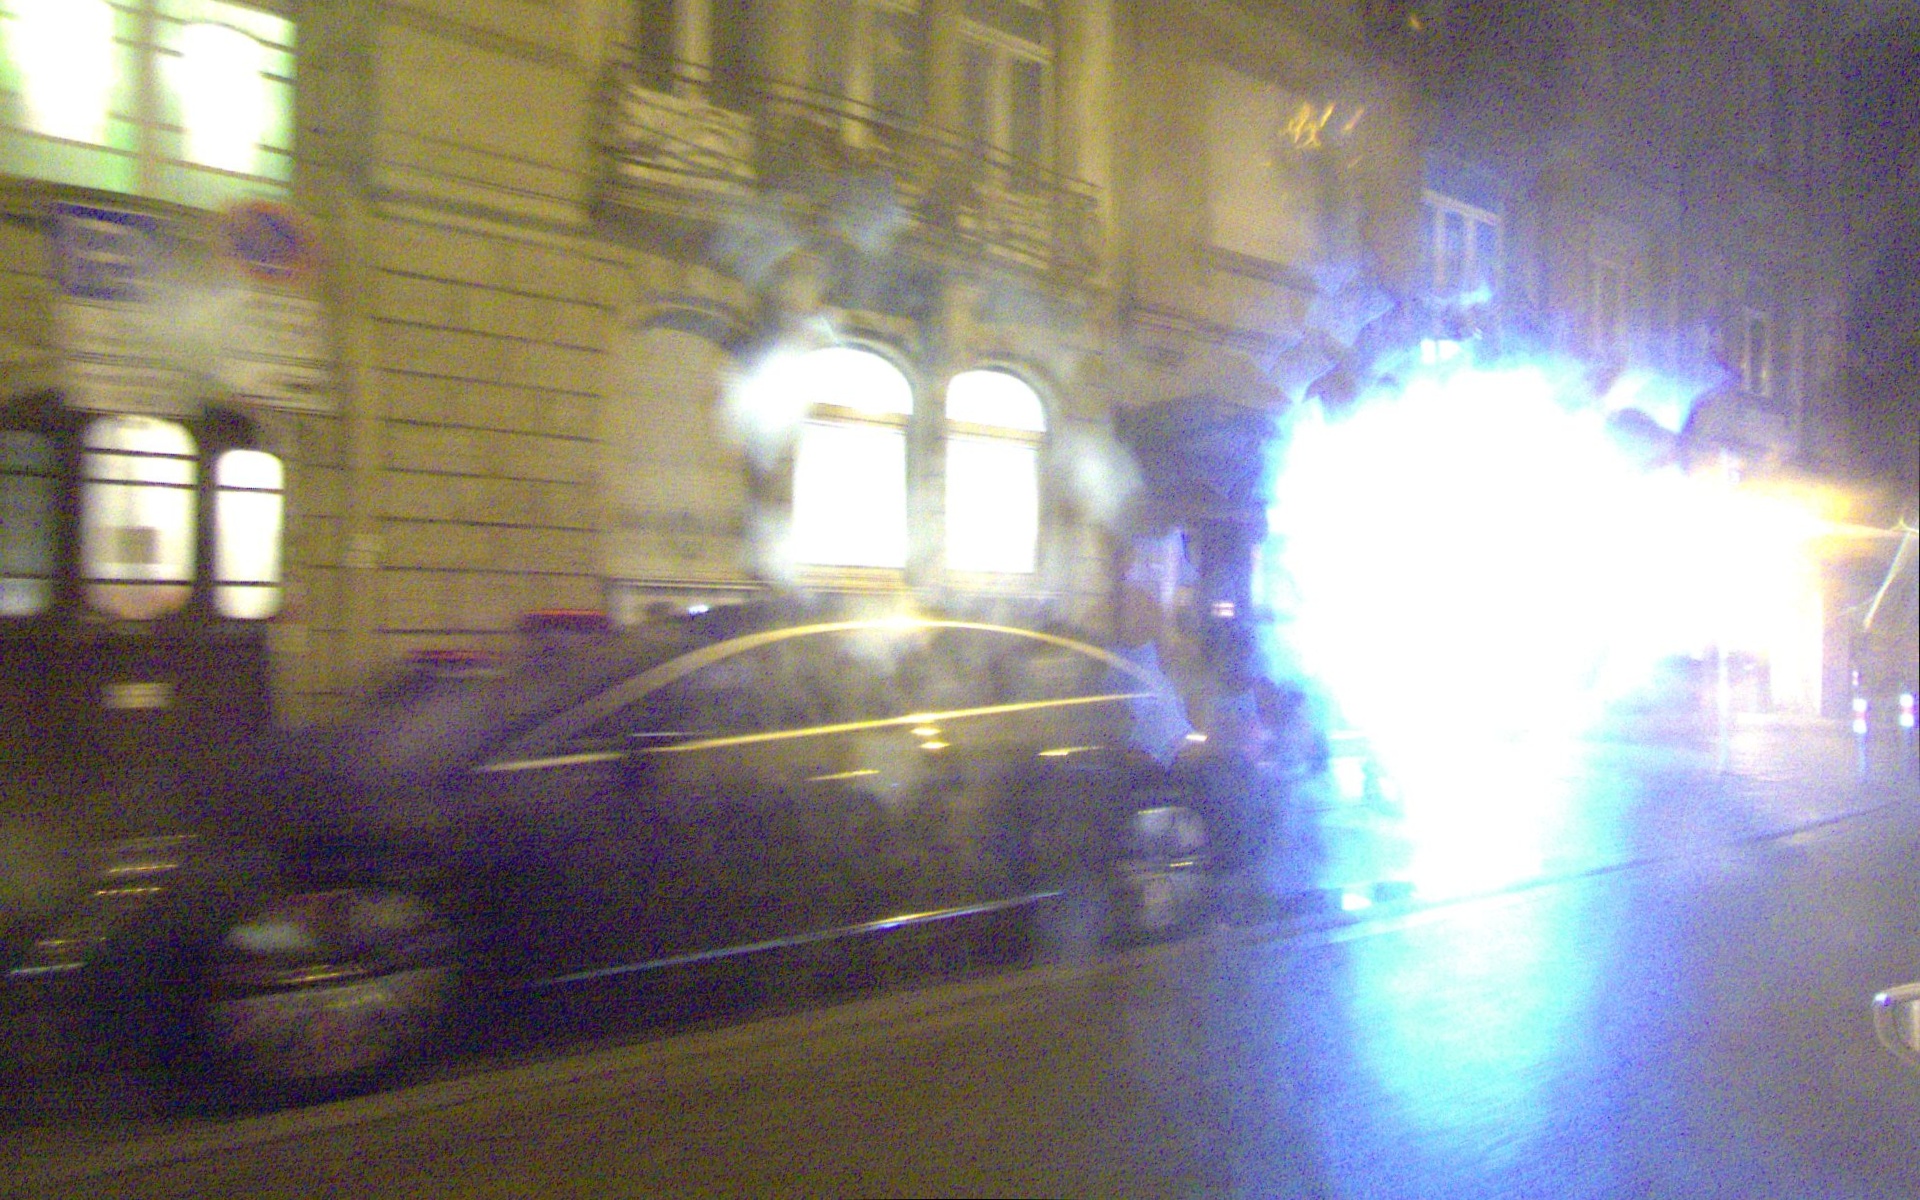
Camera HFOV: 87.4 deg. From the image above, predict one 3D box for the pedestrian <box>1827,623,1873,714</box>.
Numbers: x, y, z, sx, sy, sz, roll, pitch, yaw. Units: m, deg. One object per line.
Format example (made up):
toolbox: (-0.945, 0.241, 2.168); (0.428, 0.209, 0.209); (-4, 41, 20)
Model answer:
pedestrian: (19.492, 1.486, 22.004); (0.644, 1.934, 0.626); (2, 0, 36)

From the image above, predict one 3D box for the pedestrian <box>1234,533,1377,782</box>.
pedestrian: (3.364, 0.541, 9.780); (1.104, 2.270, 0.795); (1, -2, -31)

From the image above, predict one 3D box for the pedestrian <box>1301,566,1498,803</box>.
pedestrian: (3.840, 0.697, 8.780); (1.399, 1.888, 0.951); (1, -2, -31)

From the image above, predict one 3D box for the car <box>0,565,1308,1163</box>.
car: (-0.919, 0.730, 4.435); (4.971, 1.498, 1.838); (2, -1, -30)

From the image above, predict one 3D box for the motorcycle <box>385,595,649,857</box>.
motorcycle: (-2.770, 0.736, 6.322); (1.441, 1.490, 0.534); (2, 0, -31)
